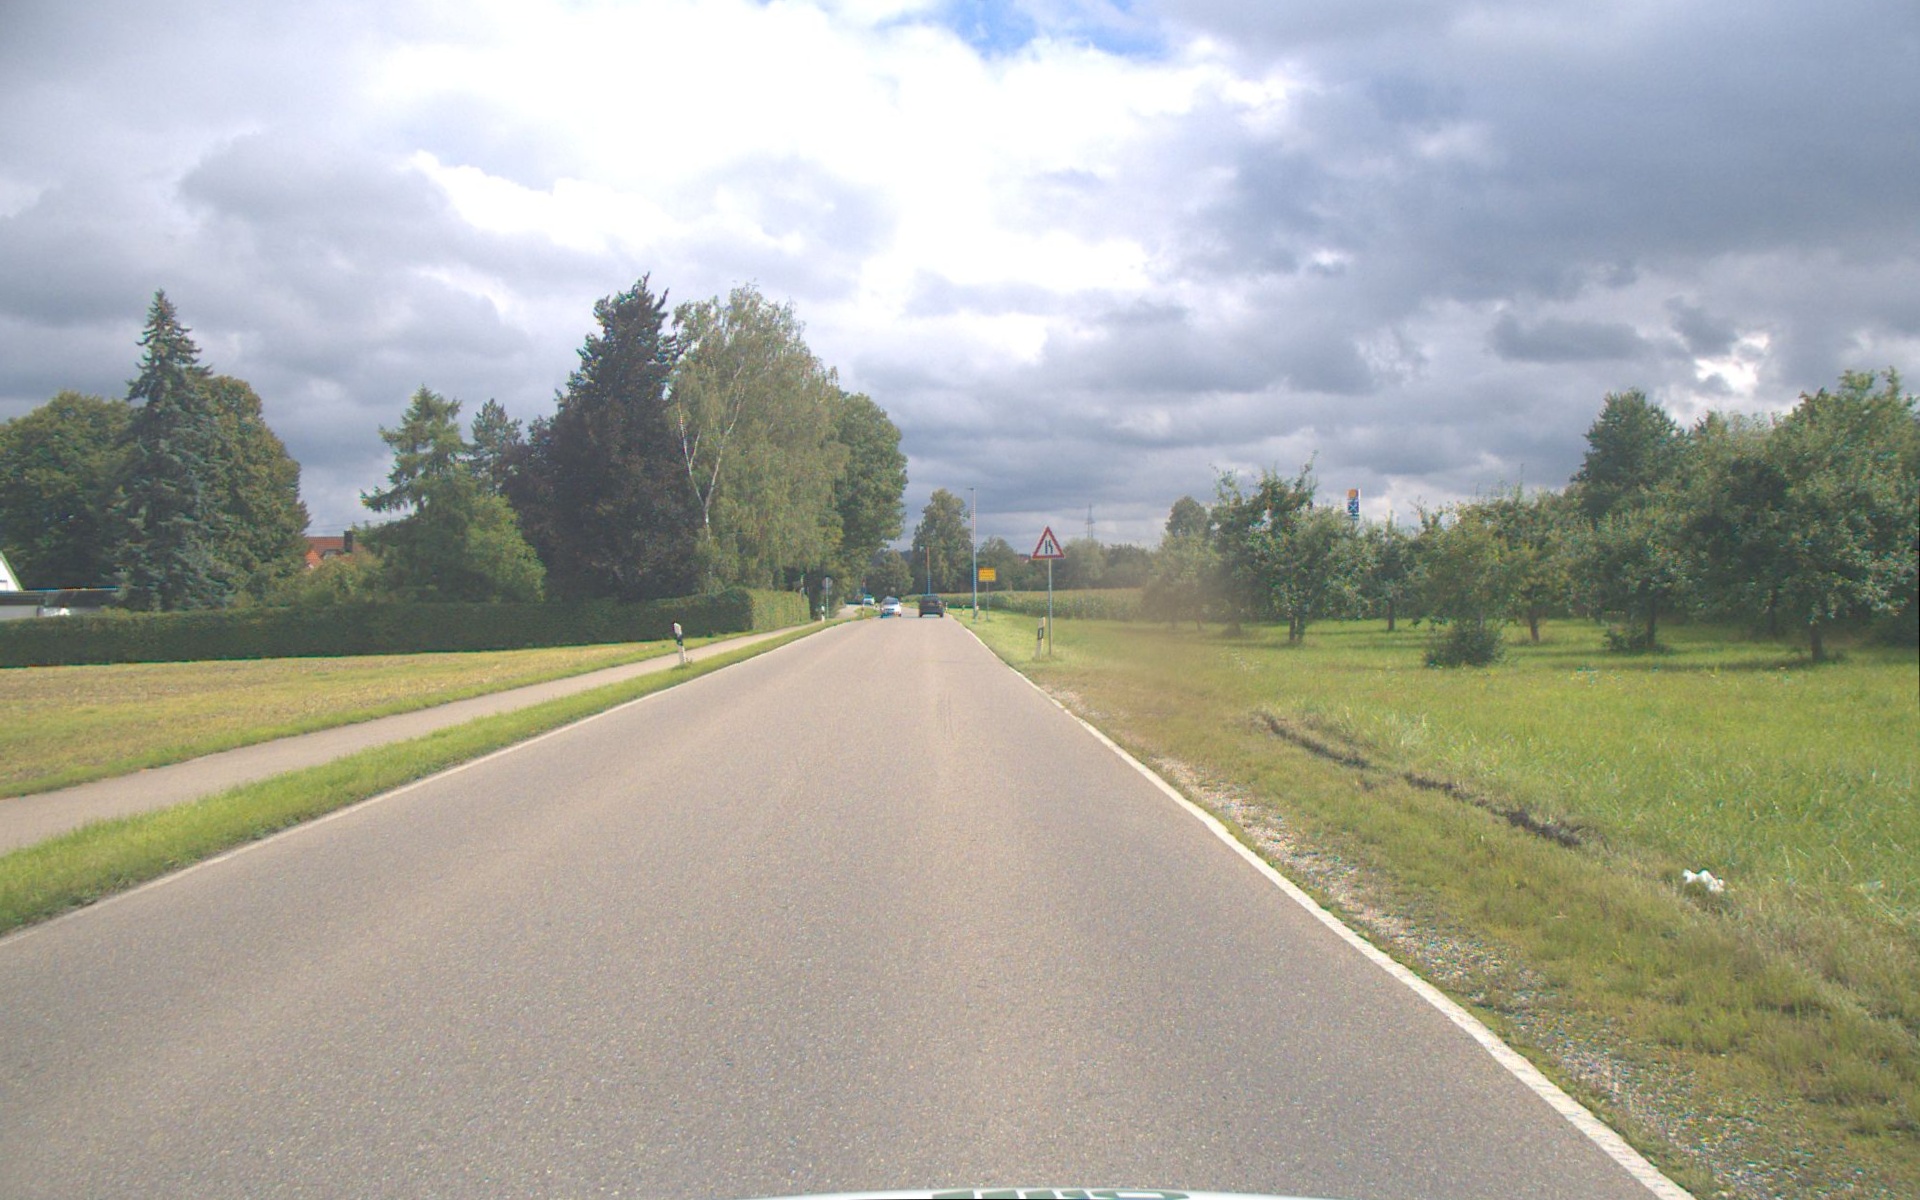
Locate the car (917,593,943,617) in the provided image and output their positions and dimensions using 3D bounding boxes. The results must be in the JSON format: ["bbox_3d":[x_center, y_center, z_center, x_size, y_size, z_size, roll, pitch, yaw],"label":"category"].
[{"bbox_3d":[-2.280,0.359,124.758,1.868,1.695,3.999,-2,0,-2],"label":"car"}]

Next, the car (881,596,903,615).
[{"bbox_3d":[-5.453,0.448,133.374,1.660,1.484,3.542,-1,0,-1],"label":"car"}]
